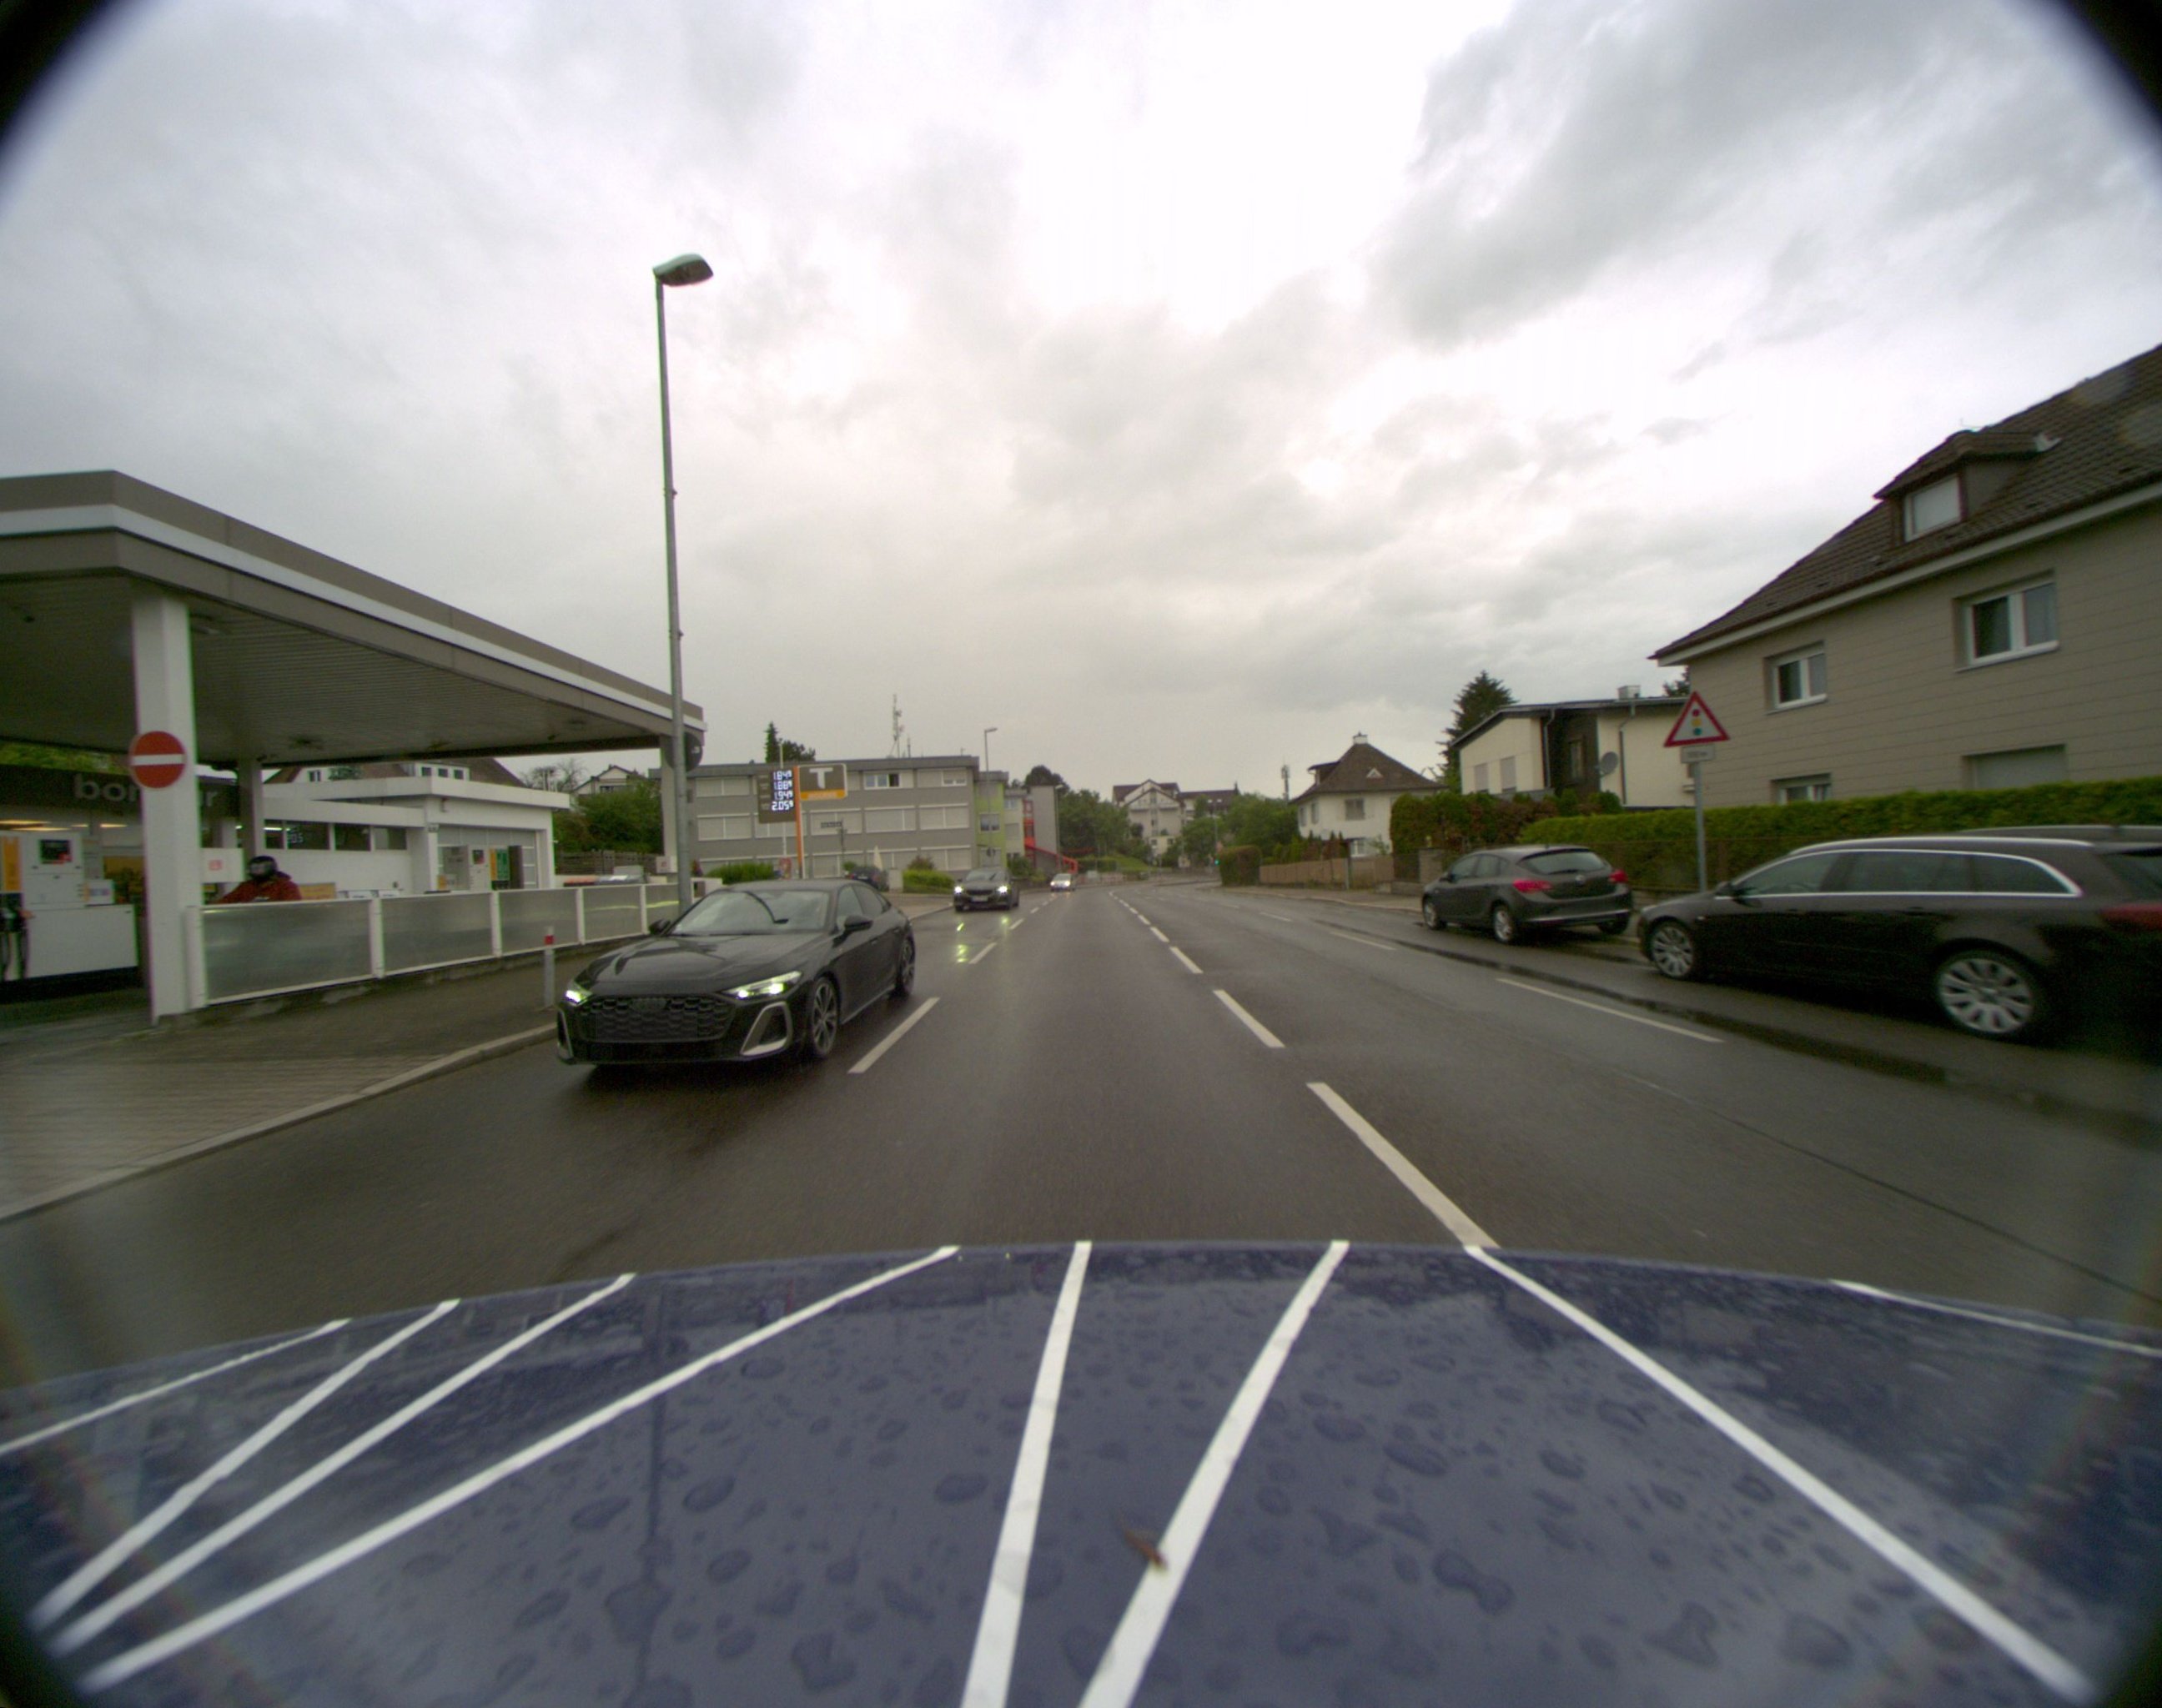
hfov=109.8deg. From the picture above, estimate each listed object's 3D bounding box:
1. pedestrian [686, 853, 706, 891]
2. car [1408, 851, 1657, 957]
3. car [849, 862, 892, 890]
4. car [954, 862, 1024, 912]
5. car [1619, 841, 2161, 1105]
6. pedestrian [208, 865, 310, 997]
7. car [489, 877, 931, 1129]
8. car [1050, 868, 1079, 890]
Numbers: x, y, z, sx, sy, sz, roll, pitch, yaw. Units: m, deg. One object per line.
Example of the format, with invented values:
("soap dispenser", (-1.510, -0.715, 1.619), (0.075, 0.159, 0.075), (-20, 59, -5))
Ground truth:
("pedestrian", (-21.049, 0.987, 41.518), (0.718, 2.002, 0.614), (-2, 1, -6))
("car", (7.292, 0.704, 12.850), (1.754, 1.431, 4.129), (-2, 0, 1))
("car", (-12.427, 1.269, 45.028), (1.815, 1.518, 3.997), (1, 0, -7))
("car", (-3.185, 1.124, 27.063), (1.872, 1.510, 4.000), (-2, 0, 1))
("car", (7.193, 0.692, 6.570), (1.755, 1.508, 4.527), (-2, 0, -1))
("pedestrian", (-10.742, 0.979, 9.948), (0.611, 1.646, 0.585), (-2, 1, 1))
("car", (-2.908, 1.055, 7.370), (1.871, 1.416, 4.739), (-2, 0, 0))
("car", (-1.398, 2.167, 66.594), (1.998, 1.647, 4.001), (-2, 0, 6))
